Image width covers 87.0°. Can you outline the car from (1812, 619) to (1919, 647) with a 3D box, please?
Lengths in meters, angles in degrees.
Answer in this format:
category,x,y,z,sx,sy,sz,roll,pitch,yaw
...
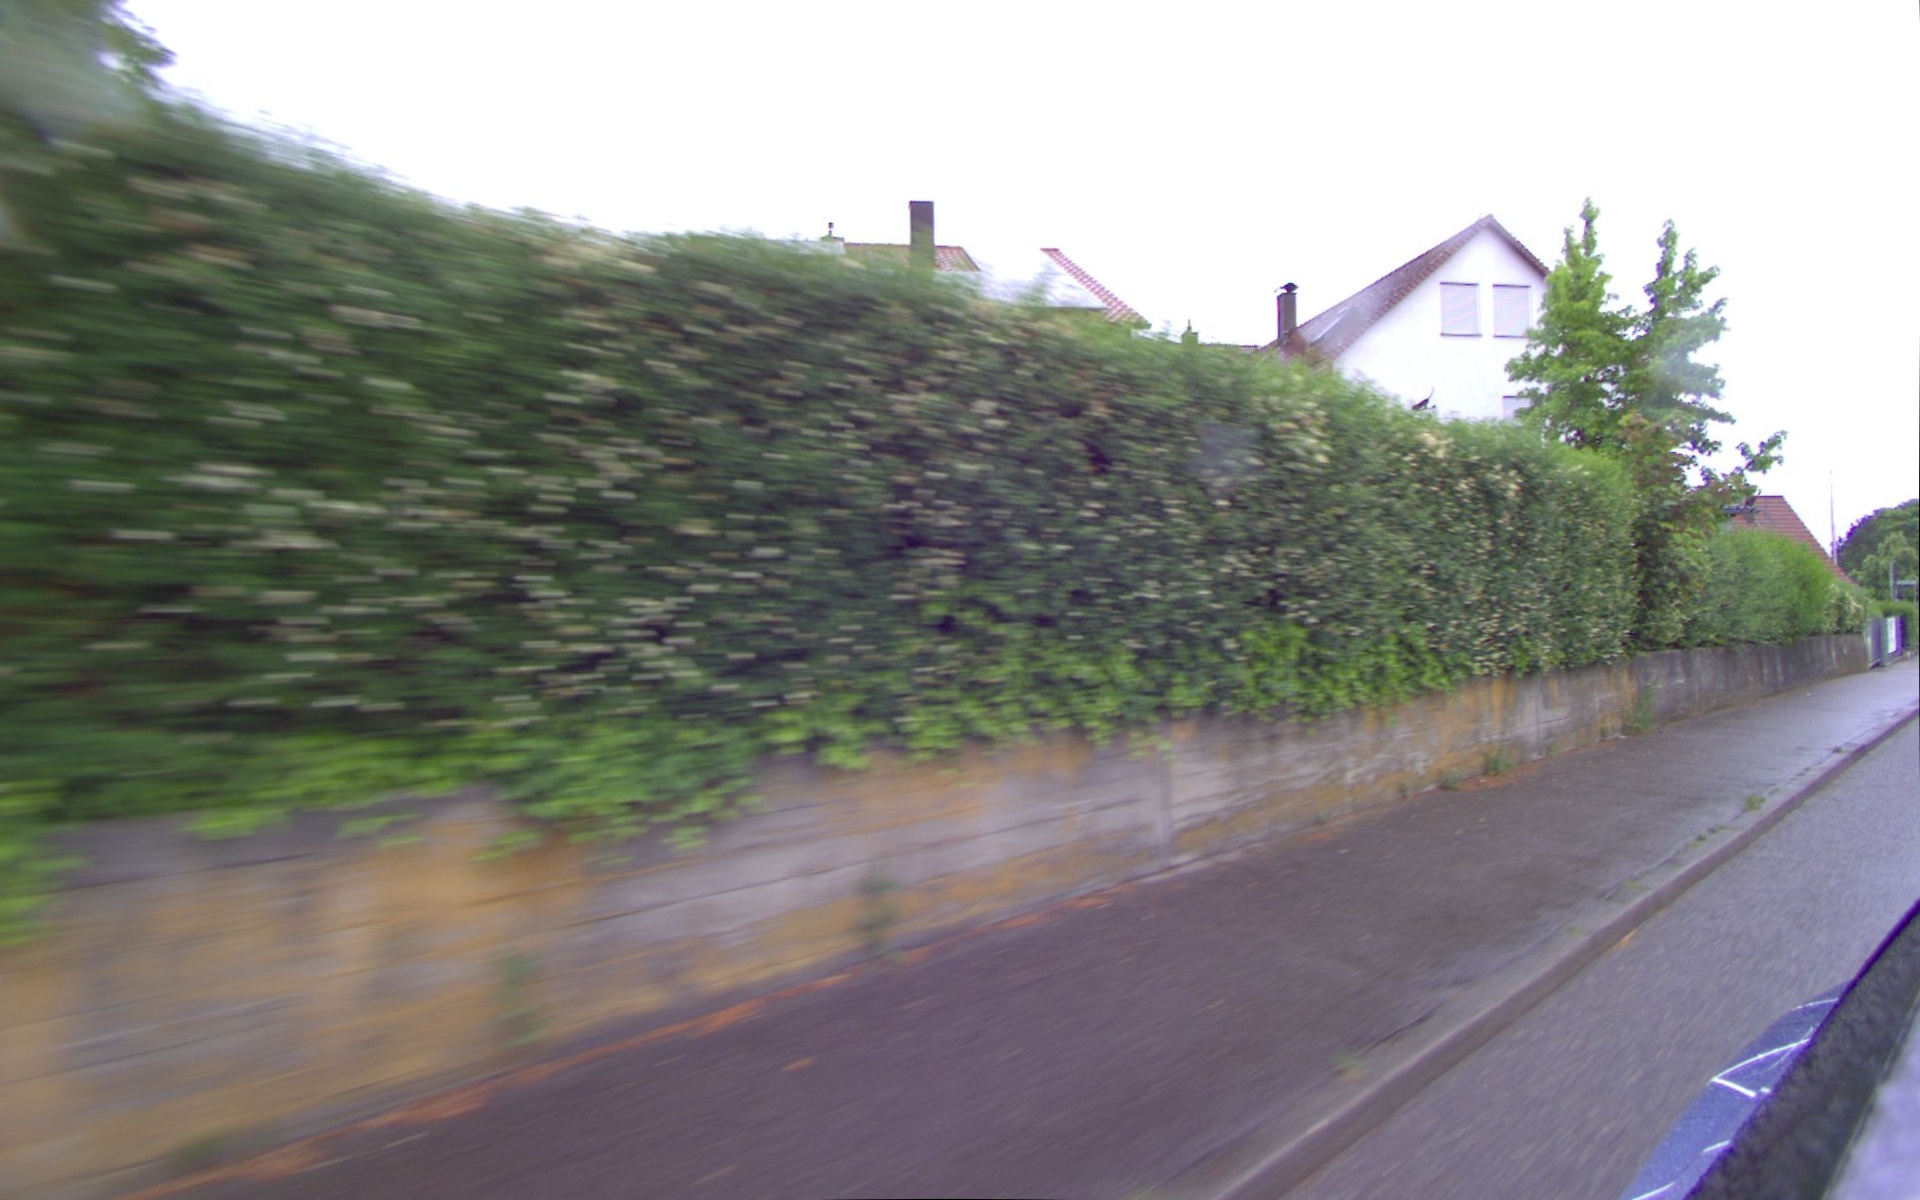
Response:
category,x,y,z,sx,sy,sz,roll,pitch,yaw
car,50.138,1.854,55.650,1.958,1.402,4.578,2,-3,-23
